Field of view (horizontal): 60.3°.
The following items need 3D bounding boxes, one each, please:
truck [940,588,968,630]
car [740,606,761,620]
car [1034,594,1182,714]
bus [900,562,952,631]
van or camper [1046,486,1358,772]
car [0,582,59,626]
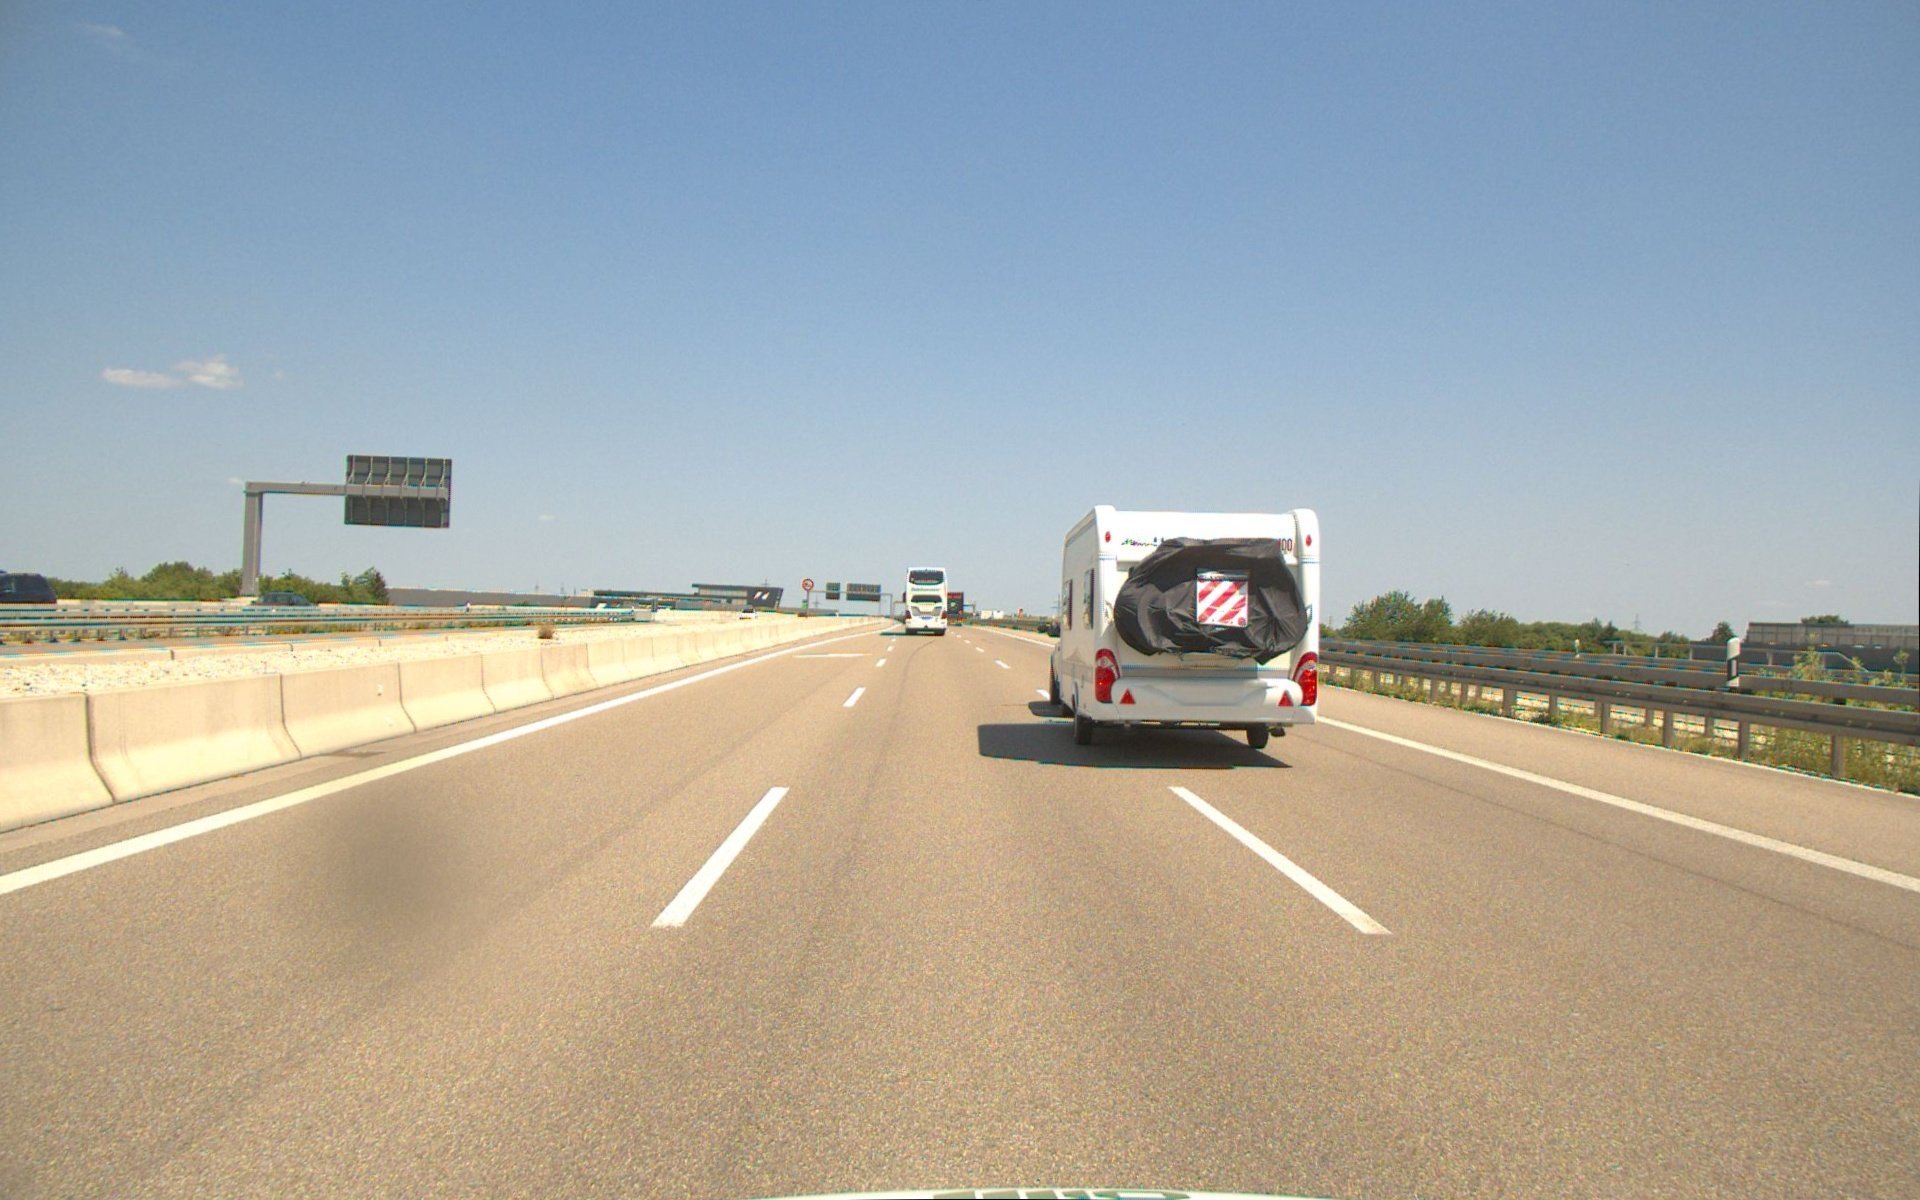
[{"bbox_3d":[-0.726,1.233,206.229,3.310,4.542,13.563,2,-3,0],"label":"truck"},{"bbox_3d":[-22.854,1.443,180.694,1.773,1.460,4.440,1,0,-1],"label":"car"},{"bbox_3d":[2.183,0.768,25.647,1.842,1.651,4.903,1,0,0],"label":"car"},{"bbox_3d":[-2.212,-0.209,103.003,2.921,4.044,9.099,1,0,-3],"label":"bus"},{"bbox_3d":[2.473,0.282,19.381,2.461,2.638,7.816,1,0,0],"label":"van or camper"},{"bbox_3d":[-31.600,0.107,53.957,1.952,1.403,4.362,1,0,1],"label":"car"}]
